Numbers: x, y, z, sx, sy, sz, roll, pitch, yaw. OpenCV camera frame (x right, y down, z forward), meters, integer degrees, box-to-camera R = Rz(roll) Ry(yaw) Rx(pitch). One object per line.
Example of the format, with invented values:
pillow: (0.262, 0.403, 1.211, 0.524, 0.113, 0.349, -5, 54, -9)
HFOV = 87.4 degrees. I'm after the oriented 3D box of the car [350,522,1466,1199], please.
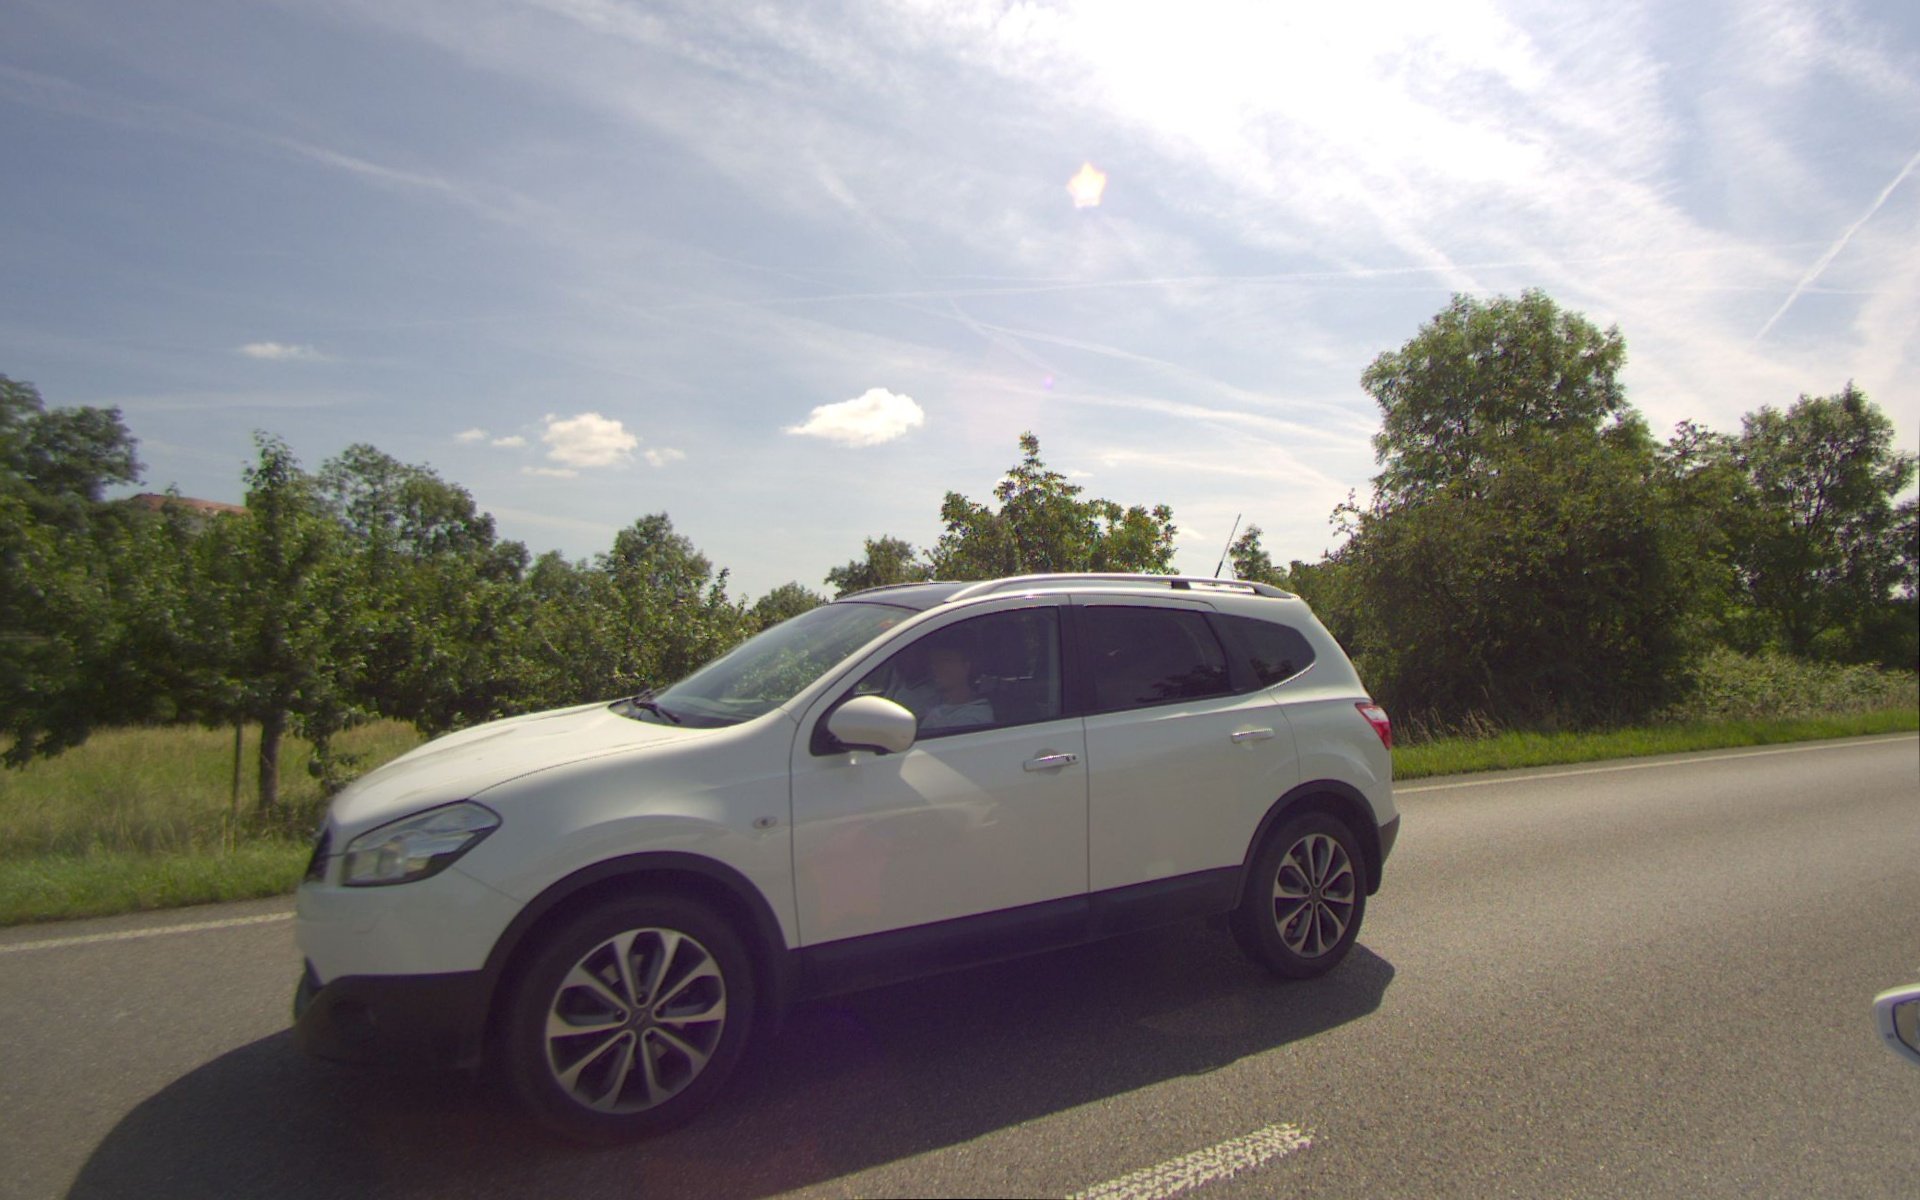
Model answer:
car: (-0.022, 0.674, 4.247, 4.311, 1.638, 1.824, 0, -2, -31)
